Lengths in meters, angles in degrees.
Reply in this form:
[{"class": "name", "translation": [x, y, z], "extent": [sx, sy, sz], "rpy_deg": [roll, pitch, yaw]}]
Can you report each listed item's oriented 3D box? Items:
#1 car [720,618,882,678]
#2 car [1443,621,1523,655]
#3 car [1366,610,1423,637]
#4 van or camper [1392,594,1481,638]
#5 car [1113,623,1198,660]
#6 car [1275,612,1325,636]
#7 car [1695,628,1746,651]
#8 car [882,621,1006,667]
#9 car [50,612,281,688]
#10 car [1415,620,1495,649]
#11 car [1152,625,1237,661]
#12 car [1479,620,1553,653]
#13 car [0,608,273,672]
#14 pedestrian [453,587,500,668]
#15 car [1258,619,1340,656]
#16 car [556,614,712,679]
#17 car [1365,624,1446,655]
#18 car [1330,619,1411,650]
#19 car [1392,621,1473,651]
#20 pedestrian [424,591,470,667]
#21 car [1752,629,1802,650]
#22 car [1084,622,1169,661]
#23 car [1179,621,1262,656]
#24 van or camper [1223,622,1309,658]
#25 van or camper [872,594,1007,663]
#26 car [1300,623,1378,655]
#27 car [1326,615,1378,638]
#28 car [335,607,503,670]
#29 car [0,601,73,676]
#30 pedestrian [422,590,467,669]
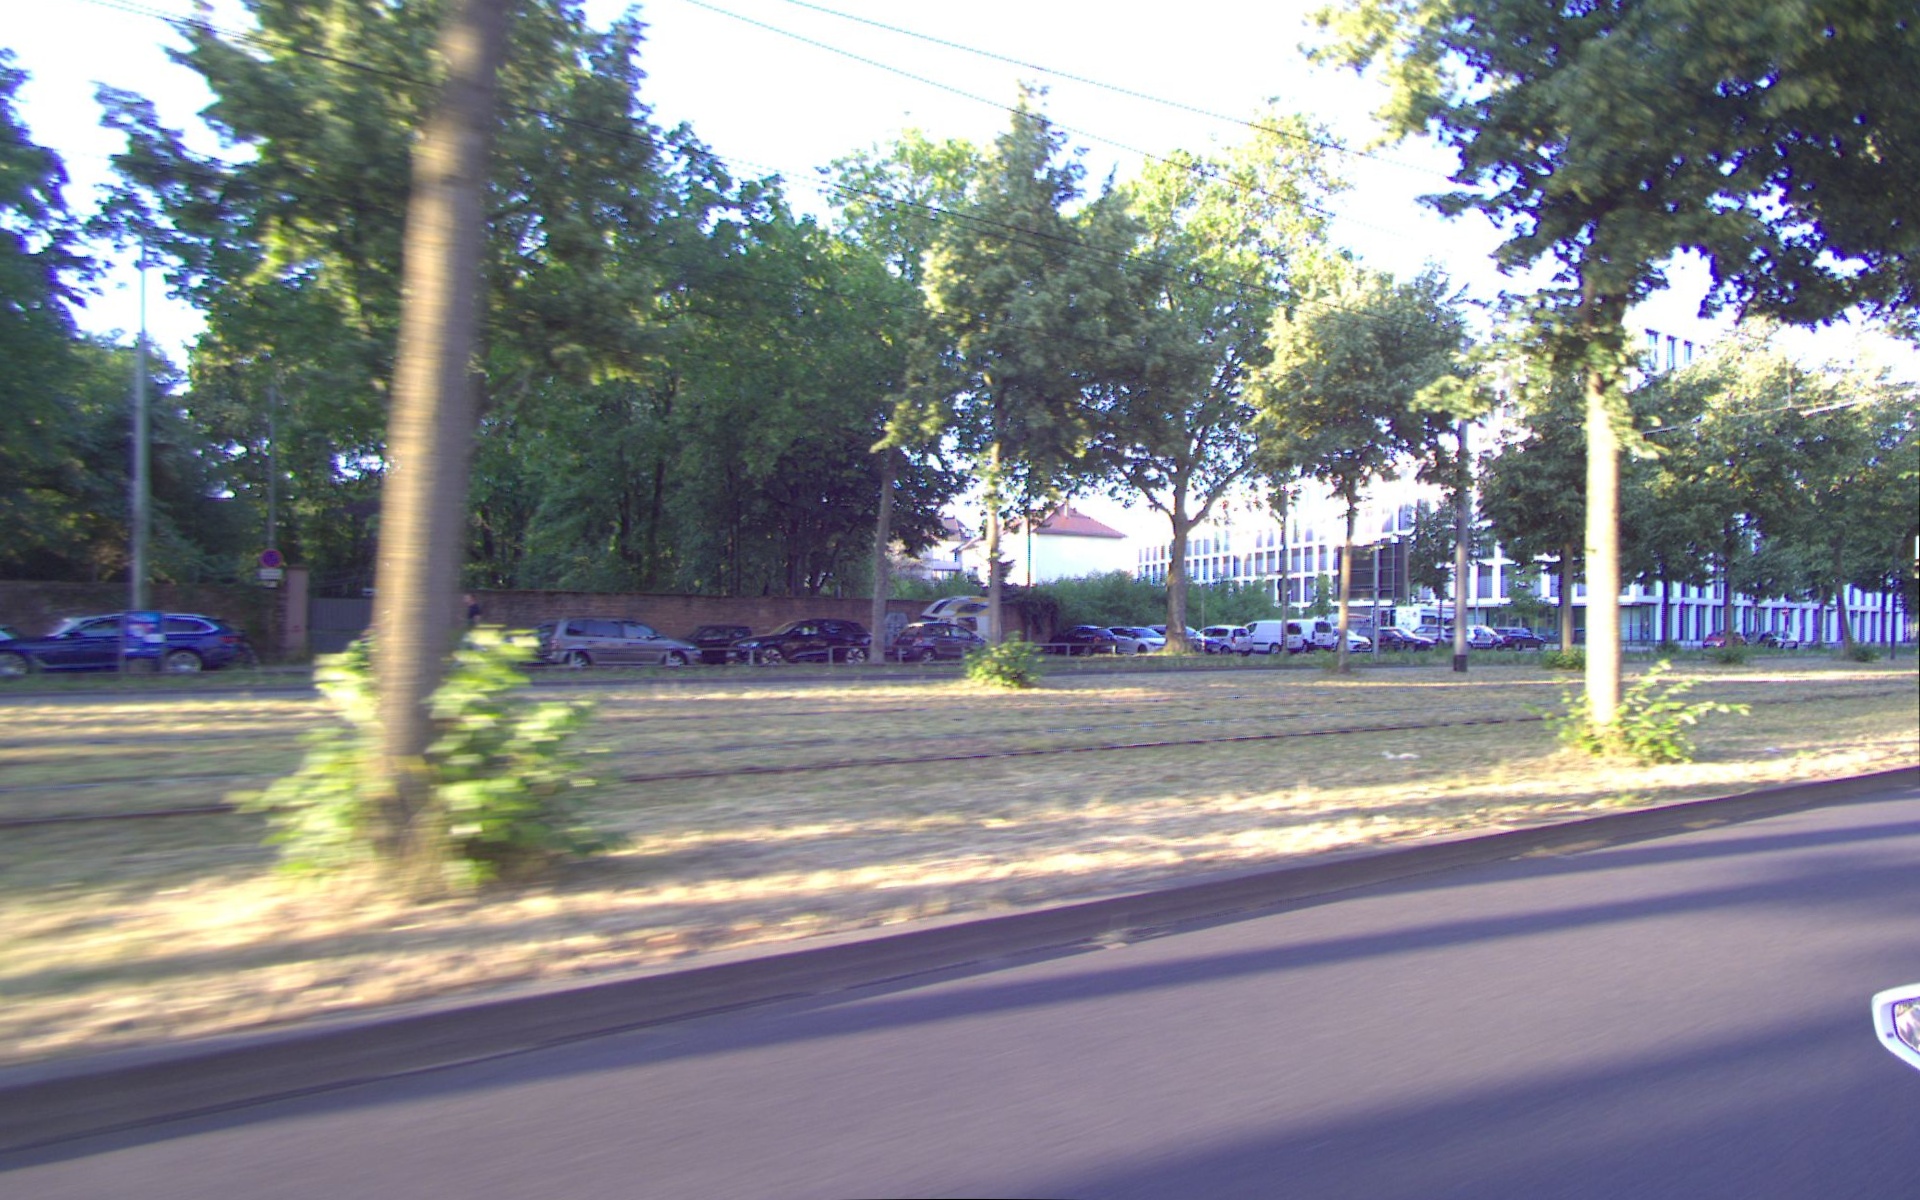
[{"class": "car", "translation": [-5.055, 1.495, 32.095], "extent": [4.736, 1.773, 1.983], "rpy_deg": [1, -1, -31]}, {"class": "car", "translation": [32.483, 2.329, 62.487], "extent": [1.979, 2.040, 3.964], "rpy_deg": [1, -1, -33]}, {"class": "car", "translation": [32.951, 1.787, 76.195], "extent": [3.952, 2.040, 1.984], "rpy_deg": [1, -1, -30]}, {"class": "van or camper", "translation": [34.808, 1.175, 73.375], "extent": [6.180, 3.126, 2.701], "rpy_deg": [1, 0, -27]}, {"class": "car", "translation": [9.306, 1.959, 48.085], "extent": [1.898, 1.662, 3.971], "rpy_deg": [1, -1, -28]}, {"class": "car", "translation": [29.623, 2.104, 87.552], "extent": [3.952, 2.040, 1.985], "rpy_deg": [1, -1, -30]}, {"class": "car", "translation": [56.093, 2.894, 74.082], "extent": [3.450, 1.603, 1.852], "rpy_deg": [1, -1, -30]}, {"class": "car", "translation": [-0.550, 1.502, 35.290], "extent": [3.961, 1.506, 1.980], "rpy_deg": [1, -1, -36]}, {"class": "car", "translation": [-19.554, 1.209, 24.974], "extent": [4.104, 1.773, 1.988], "rpy_deg": [1, -1, -25]}, {"class": "car", "translation": [29.955, 2.038, 60.840], "extent": [1.901, 1.662, 3.964], "rpy_deg": [1, -1, -33]}, {"class": "car", "translation": [11.680, 2.133, 50.274], "extent": [1.901, 1.662, 3.964], "rpy_deg": [1, -1, -33]}, {"class": "car", "translation": [35.821, 2.362, 64.696], "extent": [4.875, 2.040, 1.983], "rpy_deg": [1, -1, -31]}, {"class": "car", "translation": [-18.648, 0.875, 22.518], "extent": [5.075, 1.332, 1.987], "rpy_deg": [1, -1, -27]}, {"class": "pedestrian", "translation": [-11.516, 0.656, 23.913], "extent": [0.858, 1.895, 0.688], "rpy_deg": [1, -1, -38]}, {"class": "car", "translation": [18.538, 2.020, 55.010], "extent": [1.988, 1.869, 3.969], "rpy_deg": [1, -1, -29]}, {"class": "car", "translation": [-9.508, 1.324, 29.268], "extent": [4.104, 1.773, 1.988], "rpy_deg": [1, -1, -25]}, {"class": "car", "translation": [25.825, 2.276, 58.351], "extent": [1.901, 1.662, 3.964], "rpy_deg": [1, -1, -33]}, {"class": "car", "translation": [23.384, 1.926, 57.318], "extent": [1.901, 1.662, 3.964], "rpy_deg": [1, -1, -33]}, {"class": "car", "translation": [27.982, 2.098, 59.582], "extent": [1.901, 1.662, 3.964], "rpy_deg": [1, -1, -33]}, {"class": "pedestrian", "translation": [-12.384, 0.693, 24.245], "extent": [0.858, 1.782, 0.688], "rpy_deg": [1, -1, -38]}, {"class": "car", "translation": [64.492, 3.110, 79.266], "extent": [3.739, 1.603, 1.852], "rpy_deg": [1, -1, -30]}, {"class": "car", "translation": [7.645, 1.867, 46.377], "extent": [1.898, 1.662, 3.972], "rpy_deg": [1, -1, -27]}, {"class": "car", "translation": [13.439, 1.962, 51.967], "extent": [1.901, 1.662, 3.964], "rpy_deg": [1, -1, -33]}, {"class": "van or camper", "translation": [16.175, 2.073, 53.167], "extent": [1.984, 1.815, 3.954], "rpy_deg": [1, -1, -40]}, {"class": "van or camper", "translation": [-0.849, 1.222, 42.598], "extent": [5.434, 2.772, 2.073], "rpy_deg": [1, -1, -32]}, {"class": "car", "translation": [21.108, 2.126, 56.062], "extent": [1.895, 1.662, 3.978], "rpy_deg": [1, -1, -23]}, {"class": "car", "translation": [32.173, 2.160, 82.464], "extent": [3.949, 1.835, 1.909], "rpy_deg": [1, -1, -27]}, {"class": "car", "translation": [-14.313, 1.010, 26.825], "extent": [3.785, 1.581, 1.798], "rpy_deg": [1, -1, -25]}, {"class": "car", "translation": [-27.439, 1.044, 27.736], "extent": [3.944, 2.040, 1.989], "rpy_deg": [1, -1, -24]}, {"class": "pedestrian", "translation": [-11.829, 0.672, 23.049], "extent": [0.857, 1.766, 0.689], "rpy_deg": [1, -1, -32]}]
